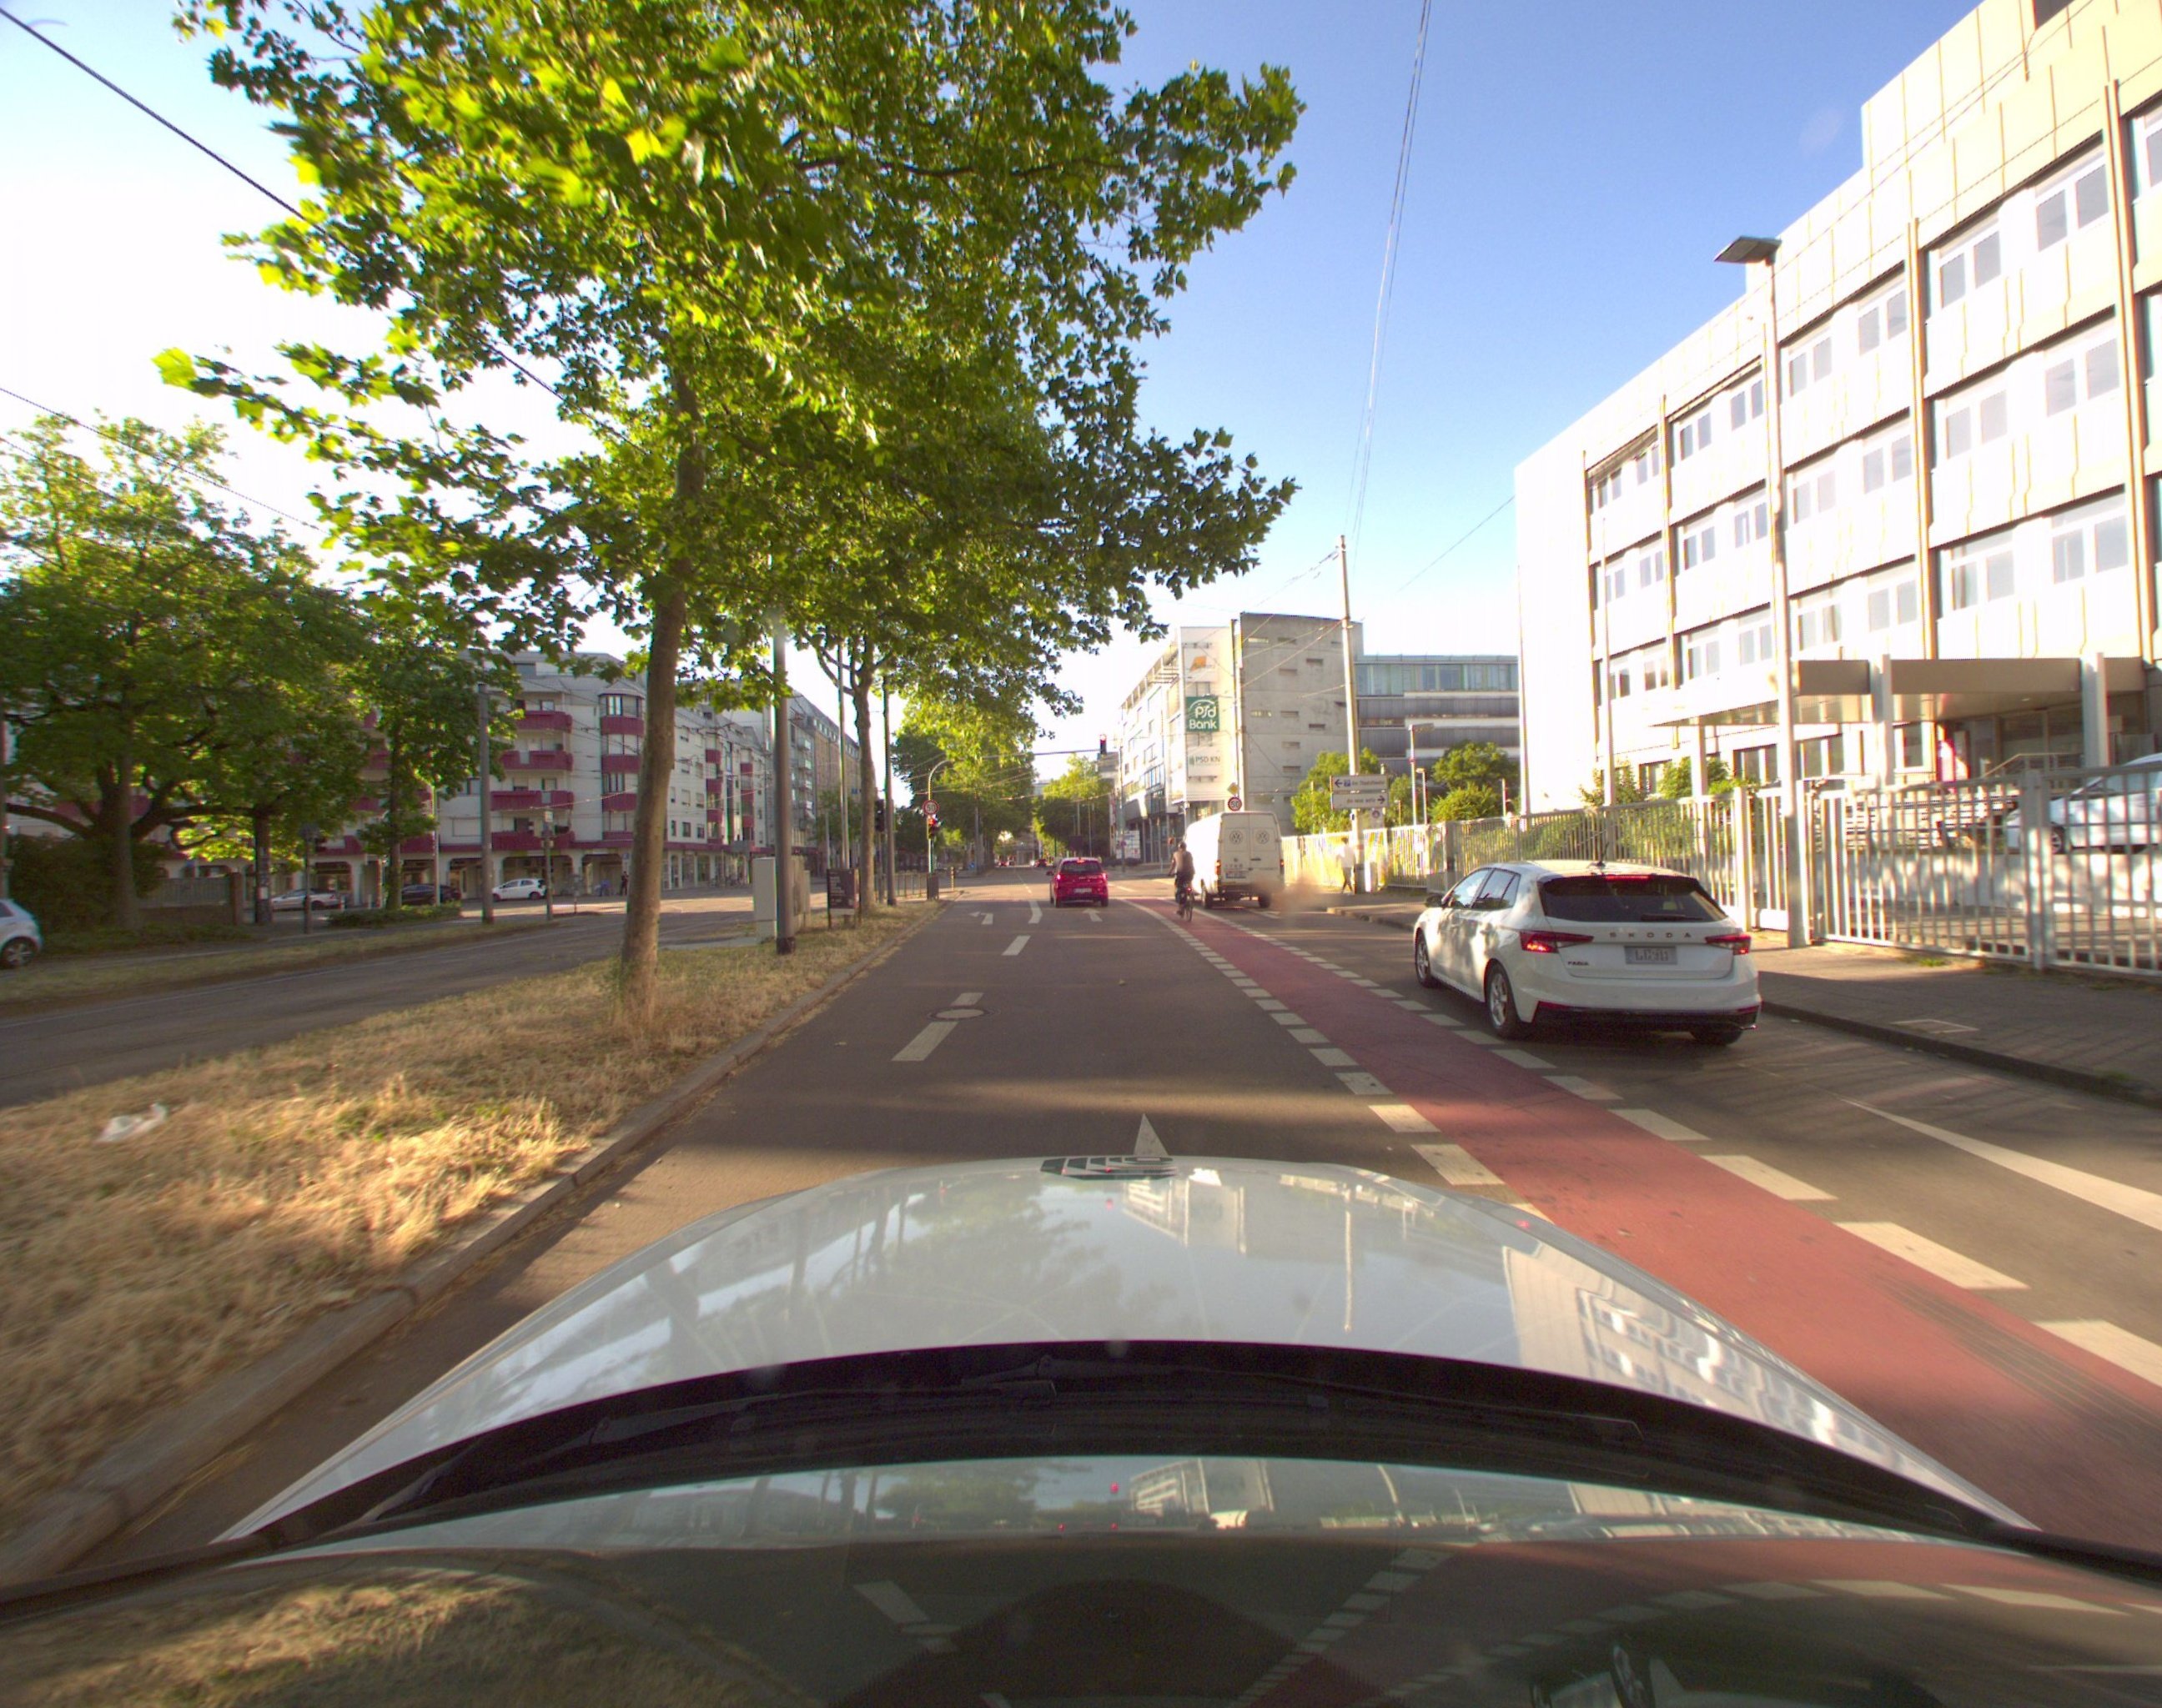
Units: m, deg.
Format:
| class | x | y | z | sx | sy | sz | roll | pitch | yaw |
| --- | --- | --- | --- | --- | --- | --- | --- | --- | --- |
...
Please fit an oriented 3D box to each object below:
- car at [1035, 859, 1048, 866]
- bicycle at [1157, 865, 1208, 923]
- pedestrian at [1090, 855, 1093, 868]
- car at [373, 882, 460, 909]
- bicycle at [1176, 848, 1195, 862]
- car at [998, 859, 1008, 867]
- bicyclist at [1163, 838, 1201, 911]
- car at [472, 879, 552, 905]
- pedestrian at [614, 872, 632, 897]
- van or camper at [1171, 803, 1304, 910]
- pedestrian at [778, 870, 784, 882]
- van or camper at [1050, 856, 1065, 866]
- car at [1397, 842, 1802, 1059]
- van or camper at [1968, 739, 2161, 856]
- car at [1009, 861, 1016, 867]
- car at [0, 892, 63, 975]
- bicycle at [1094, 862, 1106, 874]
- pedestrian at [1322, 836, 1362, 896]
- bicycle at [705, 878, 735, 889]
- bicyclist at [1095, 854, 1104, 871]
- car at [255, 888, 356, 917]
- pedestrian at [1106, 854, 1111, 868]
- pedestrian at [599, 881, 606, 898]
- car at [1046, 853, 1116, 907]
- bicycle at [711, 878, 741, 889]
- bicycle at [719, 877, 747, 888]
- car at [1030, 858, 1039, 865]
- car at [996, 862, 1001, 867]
| class | x | y | z | sx | sy | sz | roll | pitch | yaw |
| --- | --- | --- | --- | --- | --- | --- | --- | --- | --- |
| car | -8.696 | 1.824 | 177.671 | 2.476 | 1.528 | 4.420 | -3 | 0 | -7 |
| bicycle | 2.334 | 0.885 | 18.979 | 0.742 | 1.224 | 2.152 | -1 | 0 | -5 |
| pedestrian | 1.236 | 0.882 | 95.658 | 0.293 | 1.562 | 0.302 | -3 | 0 | -1 |
| car | -43.904 | 2.729 | 53.929 | 3.998 | 1.464 | 1.791 | -3 | 0 | -18 |
| bicycle | 12.072 | 0.108 | 94.056 | 1.933 | 1.443 | 0.574 | -3 | 0 | -7 |
| car | -18.489 | 2.161 | 193.126 | 2.058 | 1.654 | 3.479 | -3 | 0 | -11 |
| bicyclist | 2.343 | 0.464 | 18.964 | 0.742 | 1.669 | 0.744 | -1 | 0 | -5 |
| car | -38.757 | 2.595 | 55.576 | 3.998 | 1.464 | 1.791 | -3 | 0 | -18 |
| pedestrian | -31.917 | 2.111 | 56.715 | 0.708 | 1.662 | 1.030 | -3 | 0 | -10 |
| van or camper | 4.380 | 0.069 | 24.120 | 2.265 | 2.733 | 6.336 | 0 | 0 | -5 |
| pedestrian | -35.262 | 2.582 | 95.706 | 0.511 | 1.459 | 0.525 | -2 | 0 | -16 |
| van or camper | -4.361 | 1.325 | 150.803 | 2.144 | 1.750 | 4.418 | -3 | 0 | -9 |
| car | 4.388 | 0.685 | 7.721 | 1.791 | 1.501 | 3.992 | -1 | 0 | 9 |
| van or camper | 18.738 | -0.975 | 13.659 | 1.978 | 1.908 | 4.988 | -3 | 0 | -7 |
| car | -17.725 | 2.572 | 211.316 | 1.656 | 1.607 | 3.523 | -3 | 0 | -6 |
| car | -23.264 | 1.705 | 15.812 | 1.992 | 1.689 | 4.166 | -2 | 0 | -8 |
| bicycle | 1.913 | 1.378 | 83.164 | 0.792 | 1.161 | 2.491 | -2 | 0 | -9 |
| pedestrian | 7.988 | 0.365 | 24.913 | 0.790 | 1.748 | 0.765 | -3 | 0 | -27 |
| bicycle | -30.169 | 2.483 | 68.042 | 2.169 | 0.787 | 0.639 | -3 | 0 | -9 |
| bicyclist | 1.870 | 0.875 | 83.340 | 0.785 | 1.635 | 0.637 | -2 | 0 | -9 |
| car | -49.823 | 3.089 | 52.423 | 4.266 | 1.464 | 1.792 | -3 | 0 | -16 |
| pedestrian | 3.209 | 0.823 | 95.168 | 0.310 | 1.562 | 0.297 | -3 | 0 | 27 |
| pedestrian | -34.054 | 2.543 | 57.971 | 0.303 | 1.214 | 0.317 | -3 | 0 | -11 |
| car | -0.076 | 0.761 | 25.528 | 1.837 | 1.489 | 3.709 | -2 | 0 | -5 |
| bicycle | -29.989 | 2.483 | 68.825 | 2.169 | 0.787 | 0.490 | -3 | 0 | -9 |
| bicycle | -29.982 | 2.477 | 70.189 | 2.169 | 0.824 | 0.526 | -3 | 0 | -9 |
| car | -11.296 | 1.908 | 197.305 | 1.884 | 1.528 | 4.418 | -3 | 0 | -8 |
| car | -23.320 | 2.918 | 230.022 | 1.573 | 1.306 | 3.332 | -3 | 0 | -6 |
